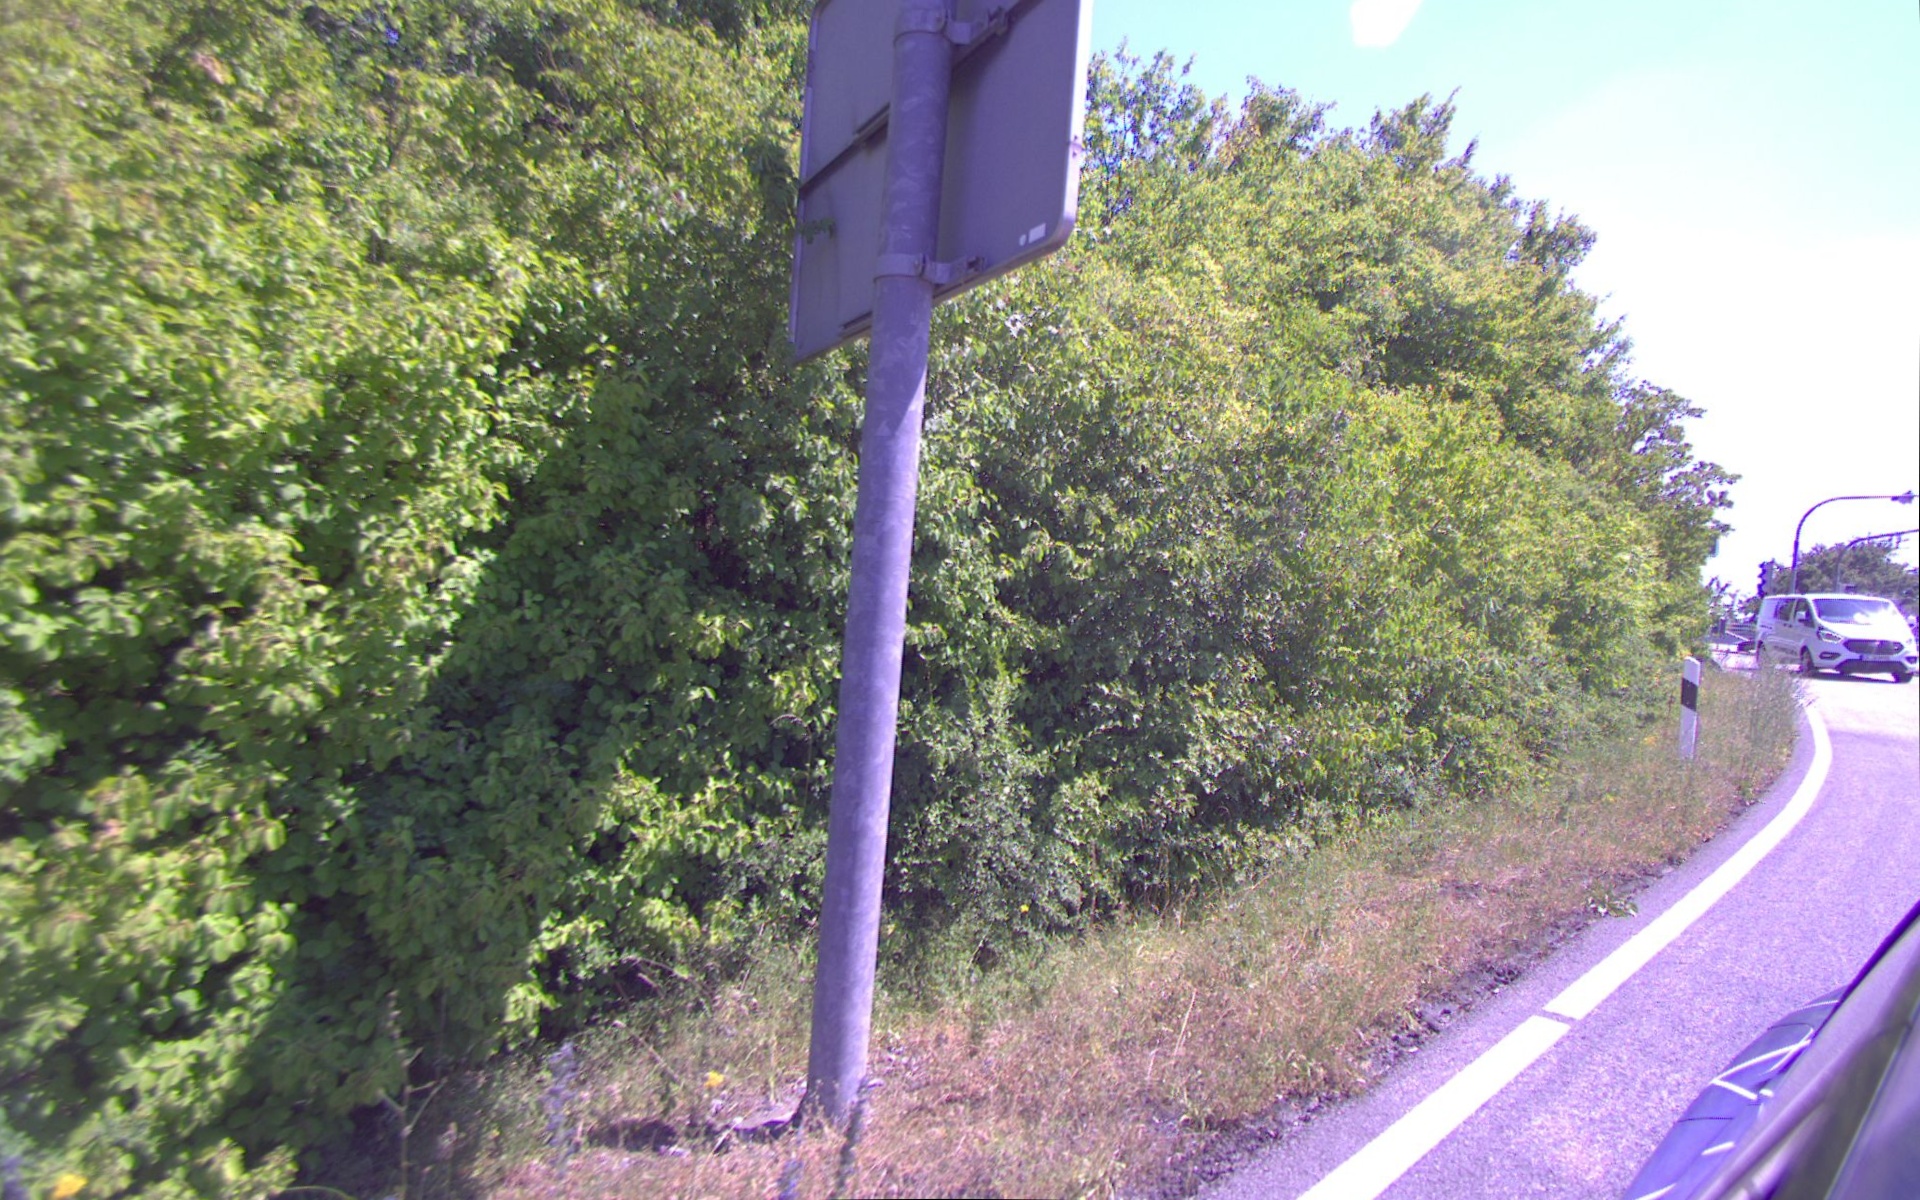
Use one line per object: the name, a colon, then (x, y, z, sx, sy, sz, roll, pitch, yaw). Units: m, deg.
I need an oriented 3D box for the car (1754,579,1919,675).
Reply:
car: (21.800, 0.607, 25.166, 2.011, 2.111, 5.818, -1, 0, 26)
